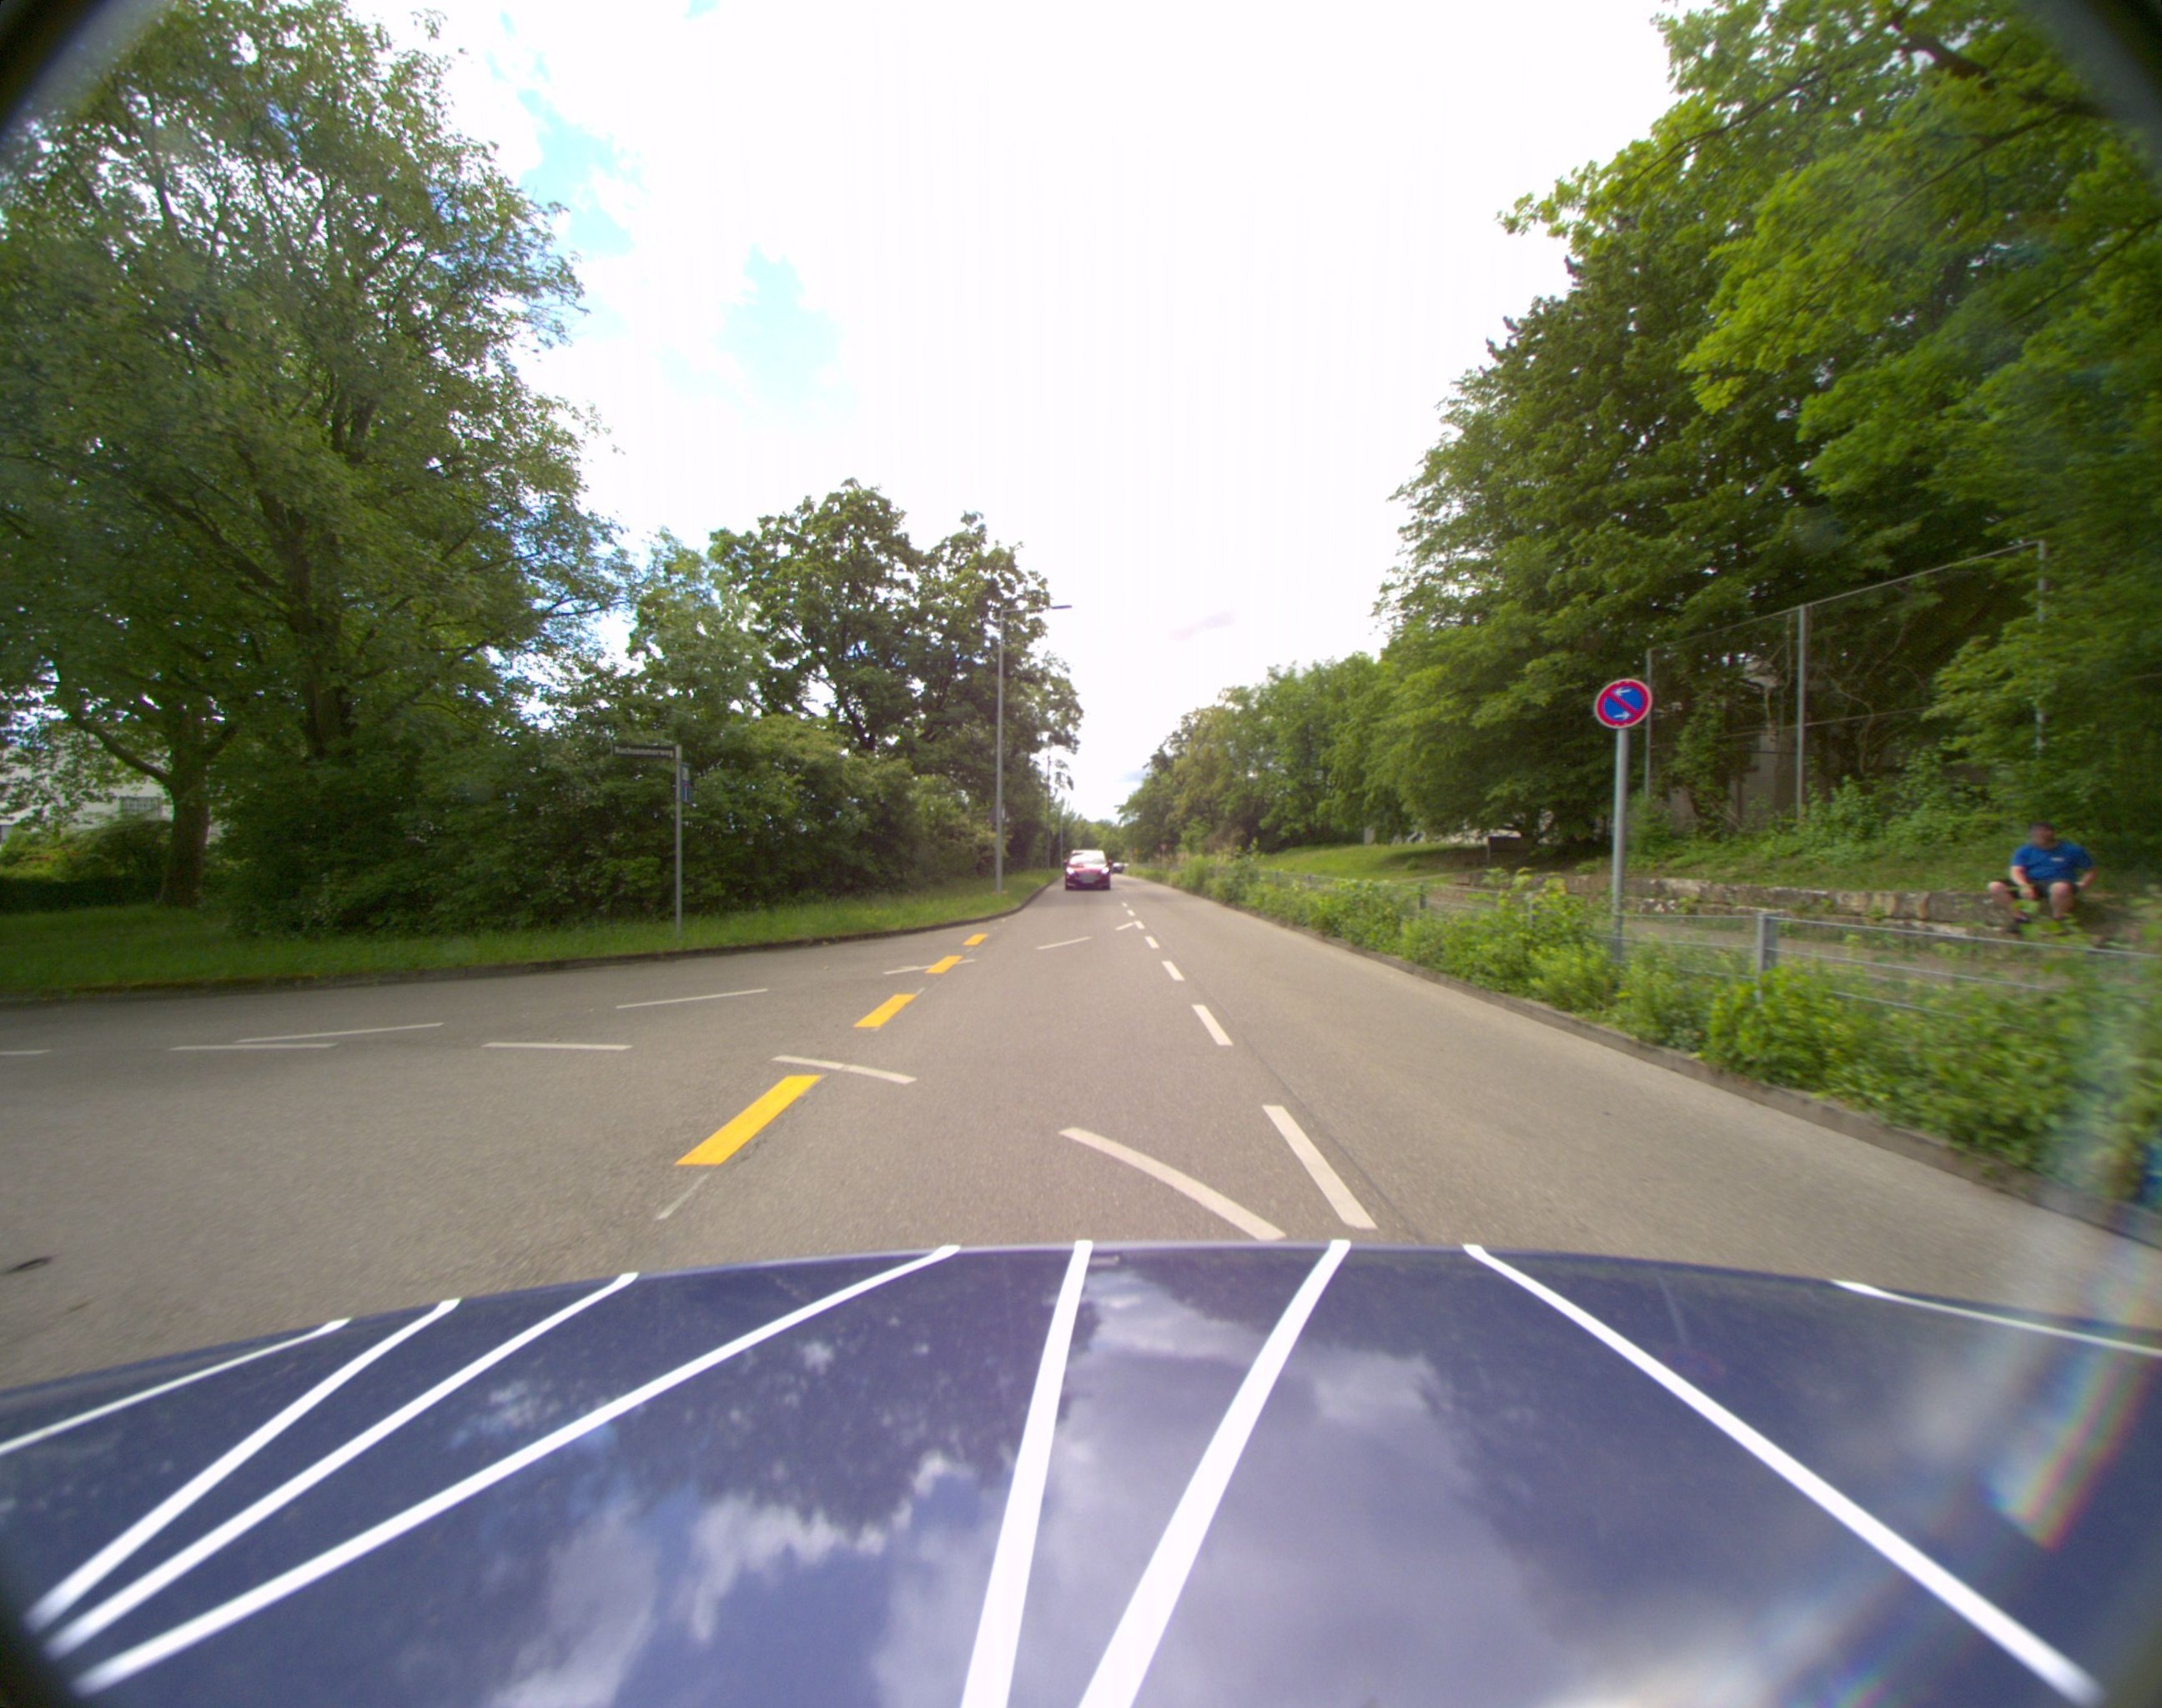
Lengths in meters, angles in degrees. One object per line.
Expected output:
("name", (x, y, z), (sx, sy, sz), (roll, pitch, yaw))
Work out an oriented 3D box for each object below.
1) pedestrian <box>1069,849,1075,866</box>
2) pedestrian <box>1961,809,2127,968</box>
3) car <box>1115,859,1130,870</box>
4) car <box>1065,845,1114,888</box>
("pedestrian", (-1.034, 0.396, 86.402), (0.675, 1.826, 0.605), (0, 1, -5))
("pedestrian", (10.497, 0.360, 8.316), (0.762, 1.653, 0.809), (0, 1, -2))
("car", (4.814, 1.196, 88.234), (1.620, 1.324, 4.000), (0, 0, 1))
("car", (0.410, 0.458, 31.705), (1.861, 1.608, 4.476), (-2, 0, 2))
